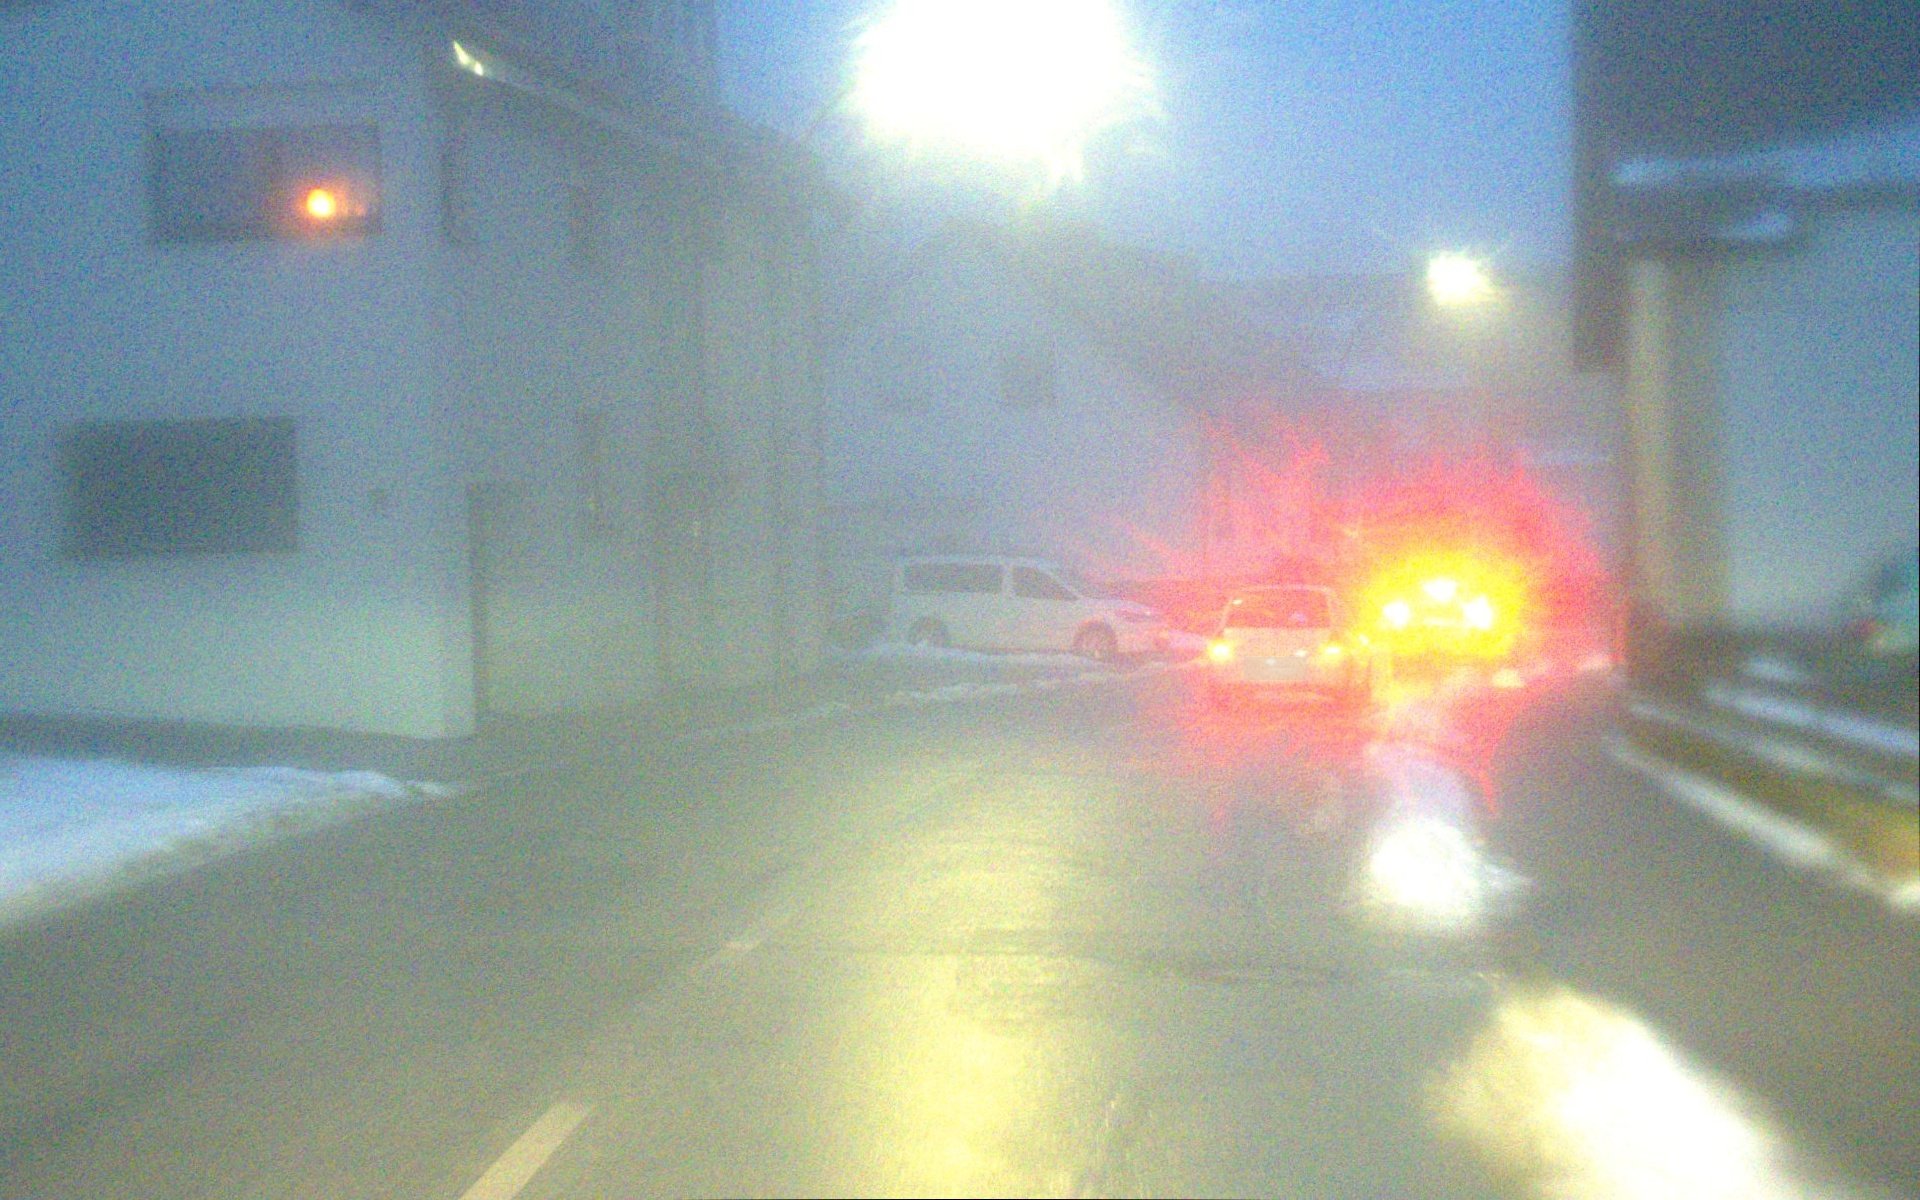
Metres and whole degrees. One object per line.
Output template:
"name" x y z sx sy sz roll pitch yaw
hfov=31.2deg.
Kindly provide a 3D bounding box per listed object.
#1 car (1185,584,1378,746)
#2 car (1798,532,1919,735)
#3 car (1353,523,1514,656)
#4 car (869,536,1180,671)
"car" 3.795 0.710 40.007 1.994 1.502 4.000 -3 3 8
"car" 8.647 0.275 26.565 3.988 1.448 1.714 1 3 6
"car" 7.658 -0.195 55.349 1.995 1.831 3.998 -2 3 15
"car" 1.085 0.062 57.855 4.738 2.006 1.998 -2 3 23
